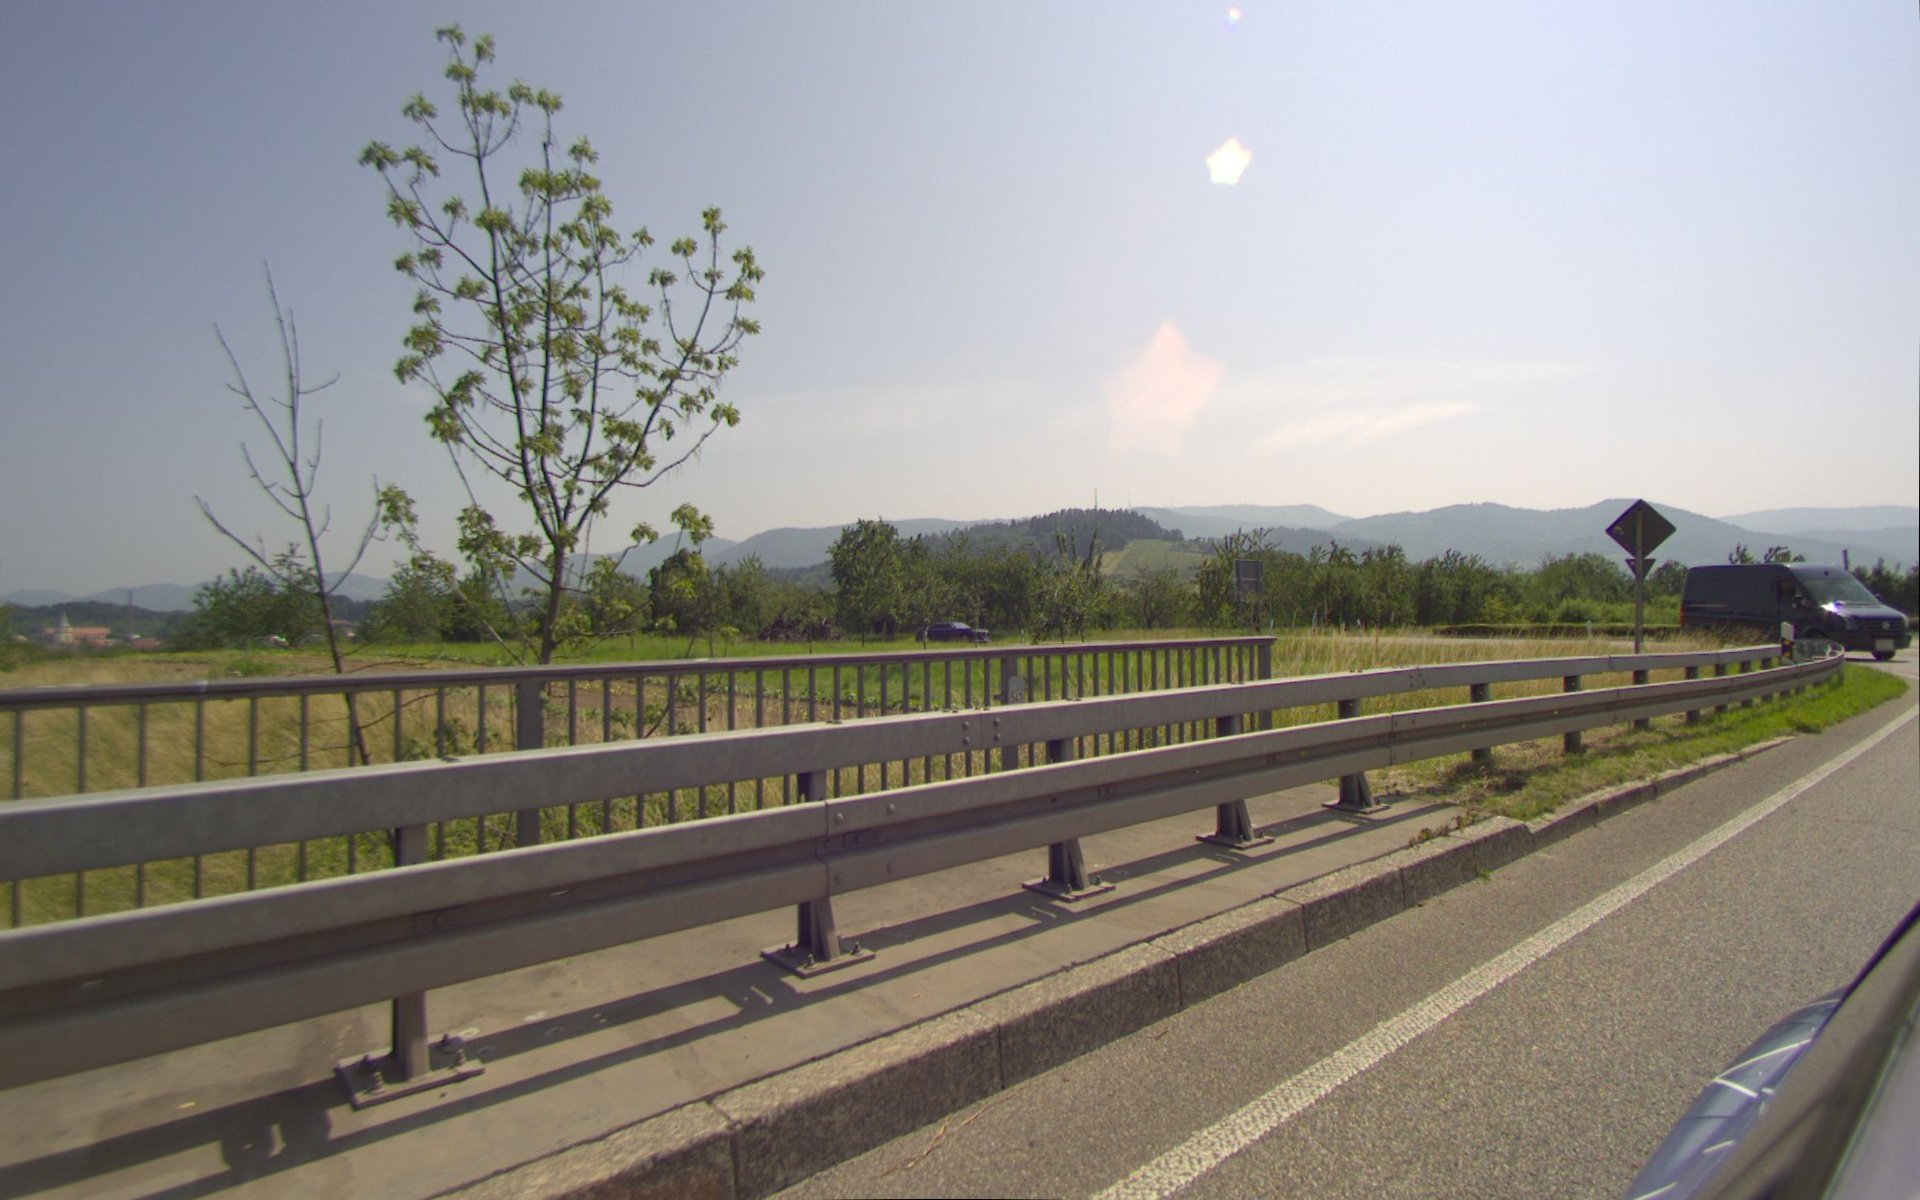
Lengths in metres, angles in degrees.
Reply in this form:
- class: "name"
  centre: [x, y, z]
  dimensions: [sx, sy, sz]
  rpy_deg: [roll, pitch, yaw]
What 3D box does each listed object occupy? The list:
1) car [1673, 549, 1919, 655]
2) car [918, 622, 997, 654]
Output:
- class: "car"
  centre: [23.212, 0.072, 28.142]
  dimensions: [2.022, 2.608, 6.315]
  rpy_deg: [0, 0, -3]
- class: "car"
  centre: [-0.180, 2.305, 62.347]
  dimensions: [4.652, 1.717, 1.972]
  rpy_deg: [0, 3, 40]
